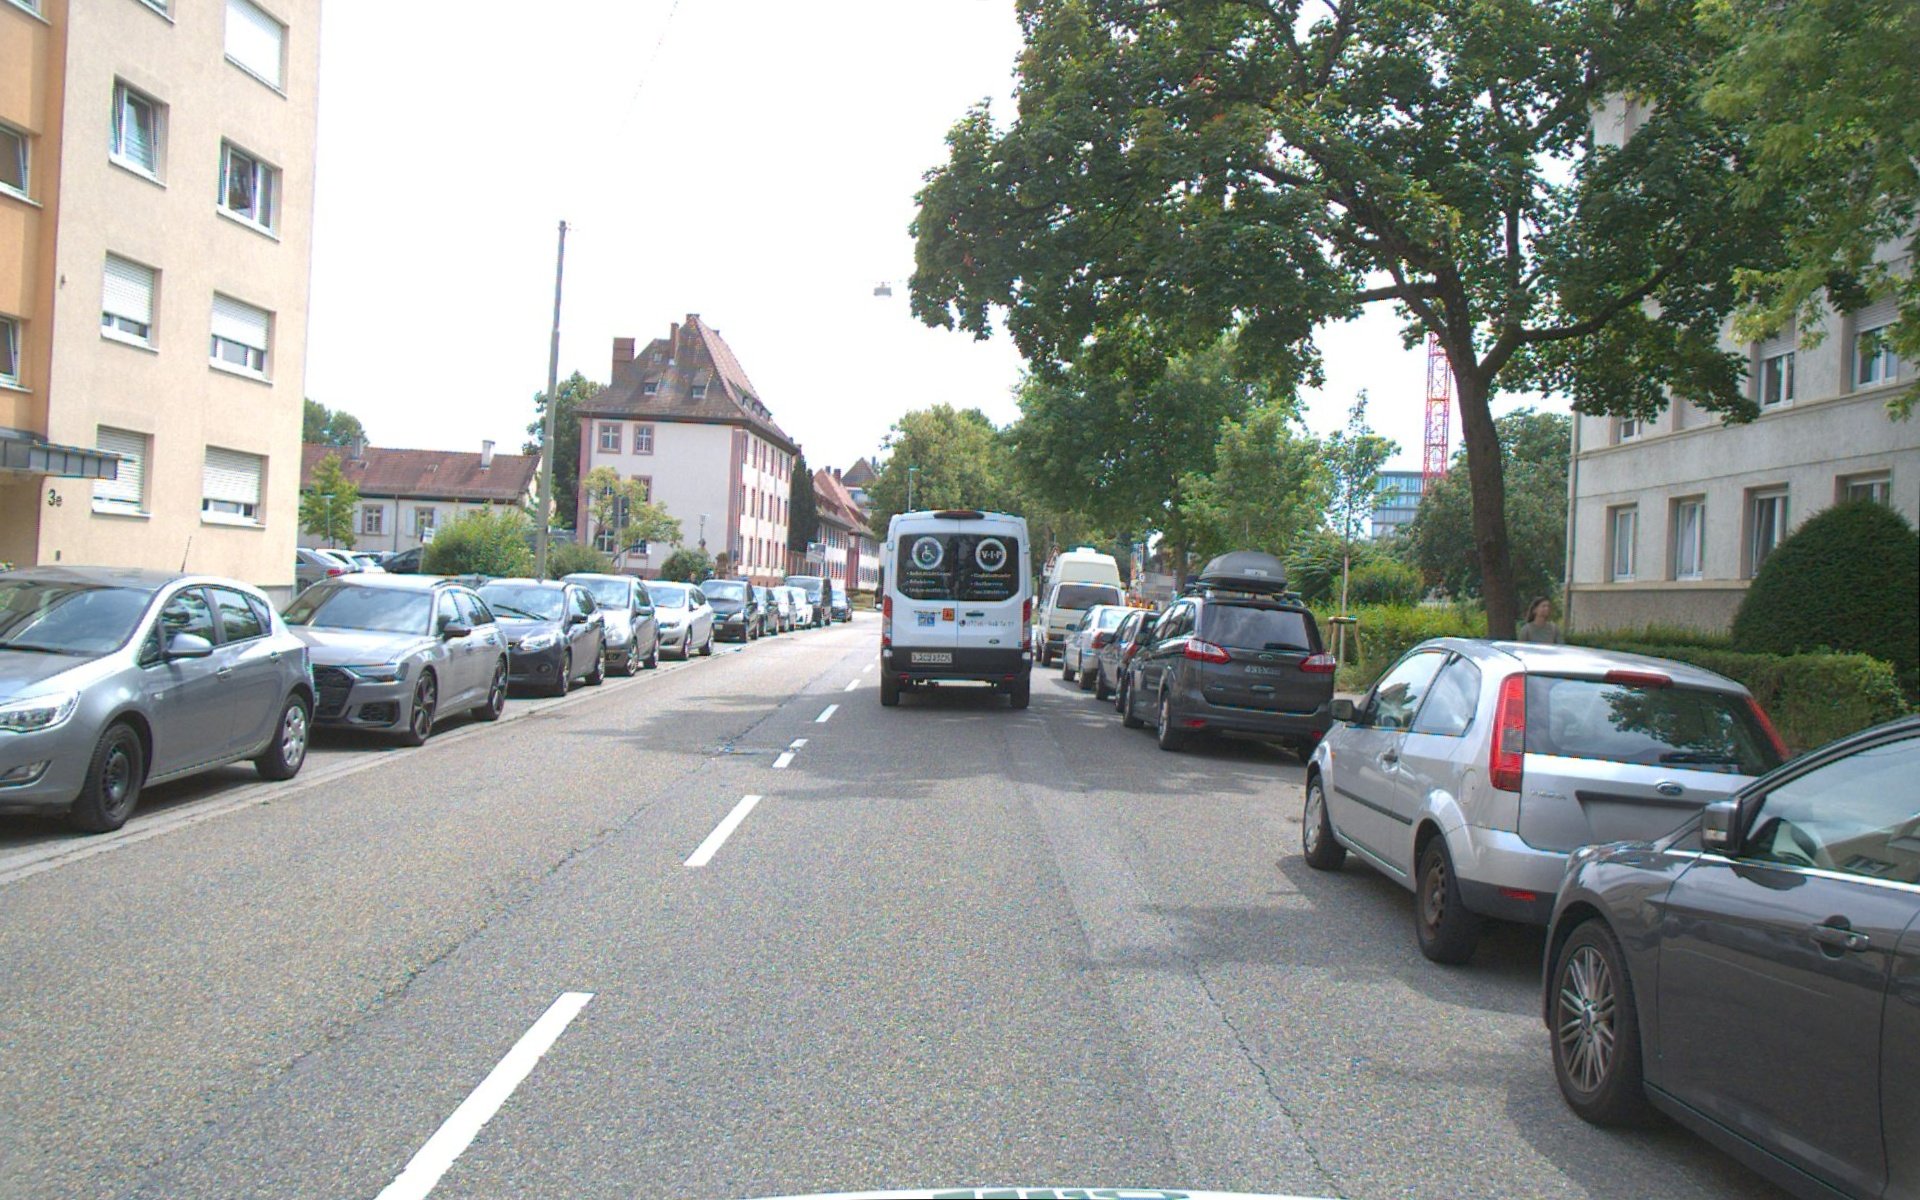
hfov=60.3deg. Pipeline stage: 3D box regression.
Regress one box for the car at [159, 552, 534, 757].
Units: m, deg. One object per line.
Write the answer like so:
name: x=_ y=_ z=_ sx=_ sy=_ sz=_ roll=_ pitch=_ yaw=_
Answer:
car: x=-5.804 y=0.443 z=16.456 sx=1.848 sy=1.607 sz=5.217 roll=4 pitch=0 yaw=-2

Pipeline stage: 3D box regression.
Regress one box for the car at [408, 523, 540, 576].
car: x=-17.466 y=-1.802 z=59.618 sx=4.086 sy=1.713 sz=2.000 roll=2 pitch=1 yaw=0

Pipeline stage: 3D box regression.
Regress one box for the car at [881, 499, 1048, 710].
car: x=-0.038 y=0.065 z=22.916 sx=2.029 sy=2.585 sz=4.632 roll=1 pitch=0 yaw=-3

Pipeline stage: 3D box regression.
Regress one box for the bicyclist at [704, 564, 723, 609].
bicyclist: x=-9.082 y=-0.499 z=60.907 sx=0.525 sy=1.613 sz=0.692 roll=2 pitch=0 yaw=2

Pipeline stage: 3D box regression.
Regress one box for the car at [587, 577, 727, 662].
car: x=-6.098 y=0.362 z=33.854 sx=1.847 sy=1.514 sz=4.634 roll=4 pitch=0 yaw=1

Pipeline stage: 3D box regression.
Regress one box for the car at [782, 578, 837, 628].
car: x=-6.062 y=0.107 z=66.848 sx=1.749 sy=1.858 sz=3.974 roll=3 pitch=0 yaw=0

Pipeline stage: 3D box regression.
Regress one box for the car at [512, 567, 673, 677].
car: x=-6.116 y=0.336 z=28.008 sx=1.848 sy=1.607 sz=4.151 roll=4 pitch=0 yaw=-2

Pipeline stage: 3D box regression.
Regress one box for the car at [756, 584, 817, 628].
car: x=-6.451 y=0.204 z=61.830 sx=1.749 sy=1.507 sz=3.861 roll=4 pitch=0 yaw=0

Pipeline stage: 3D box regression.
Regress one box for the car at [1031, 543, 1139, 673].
car: x=2.763 y=0.162 z=37.666 sx=1.859 sy=2.631 sz=4.828 roll=5 pitch=0 yaw=-1

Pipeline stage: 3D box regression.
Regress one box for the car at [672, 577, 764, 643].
car: x=-6.380 y=0.247 z=43.971 sx=1.749 sy=1.570 sz=3.861 roll=4 pitch=0 yaw=0

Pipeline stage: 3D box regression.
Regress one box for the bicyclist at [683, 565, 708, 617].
bicyclist: x=-8.636 y=-0.299 z=54.002 sx=0.525 sy=1.682 sz=1.048 roll=2 pitch=0 yaw=4

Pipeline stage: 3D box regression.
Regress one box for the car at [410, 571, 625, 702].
car: x=-5.964 y=0.443 z=22.898 sx=1.706 sy=1.522 sz=4.784 roll=4 pitch=0 yaw=-1

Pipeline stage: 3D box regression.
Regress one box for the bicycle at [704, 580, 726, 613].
bicycle: x=-9.071 y=-0.139 z=61.233 sx=0.530 sy=1.195 sz=1.349 roll=2 pitch=0 yaw=2

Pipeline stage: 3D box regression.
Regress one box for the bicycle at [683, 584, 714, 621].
bicycle: x=-8.613 y=0.071 z=54.519 sx=0.530 sy=1.195 sz=2.093 roll=2 pitch=0 yaw=4

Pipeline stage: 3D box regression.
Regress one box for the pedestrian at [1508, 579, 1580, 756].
pedestrian: x=6.233 y=0.710 z=17.666 sx=0.512 sy=1.860 sz=0.523 roll=1 pitch=0 yaw=-5

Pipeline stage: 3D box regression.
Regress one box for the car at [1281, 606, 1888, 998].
car: x=2.972 y=0.844 z=8.841 sx=1.625 sy=1.482 sz=4.035 roll=4 pitch=0 yaw=0

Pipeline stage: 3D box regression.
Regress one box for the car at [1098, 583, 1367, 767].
car: x=2.951 y=0.733 z=19.197 sx=1.889 sy=1.690 sz=5.322 roll=5 pitch=0 yaw=-3

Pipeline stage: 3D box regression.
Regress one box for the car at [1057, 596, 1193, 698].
car: x=2.822 y=0.767 z=29.179 sx=1.647 sy=1.494 sz=4.553 roll=5 pitch=0 yaw=-2

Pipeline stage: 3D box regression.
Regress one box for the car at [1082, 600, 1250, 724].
car: x=2.906 y=0.832 z=24.147 sx=1.679 sy=1.490 sz=3.999 roll=5 pitch=0 yaw=-3

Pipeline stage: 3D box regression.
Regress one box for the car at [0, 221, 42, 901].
car: x=-5.488 y=-0.202 z=3.932 sx=2.460 sy=3.076 sz=7.394 roll=3 pitch=0 yaw=-1

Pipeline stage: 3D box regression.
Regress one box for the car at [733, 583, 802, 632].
car: x=-6.395 y=0.239 z=55.262 sx=1.749 sy=1.488 sz=3.861 roll=4 pitch=0 yaw=0

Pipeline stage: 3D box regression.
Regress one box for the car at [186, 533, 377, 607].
car: x=-17.601 y=-0.793 z=43.025 sx=4.086 sy=1.713 sz=2.000 roll=2 pitch=1 yaw=0

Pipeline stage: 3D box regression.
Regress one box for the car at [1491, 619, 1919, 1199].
car: x=2.845 y=0.882 z=3.757 sx=1.585 sy=1.495 sz=4.389 roll=4 pitch=0 yaw=-3

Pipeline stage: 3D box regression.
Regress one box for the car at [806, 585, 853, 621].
car: x=-6.048 y=0.118 z=77.039 sx=1.749 sy=1.507 sz=3.861 roll=4 pitch=0 yaw=0

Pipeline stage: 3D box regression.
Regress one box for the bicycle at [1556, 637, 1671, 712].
bicycle: x=8.725 y=0.993 z=22.100 sx=1.360 sy=0.933 sz=0.513 roll=2 pitch=1 yaw=-14

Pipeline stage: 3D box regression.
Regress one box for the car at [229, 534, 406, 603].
car: x=-17.850 y=-0.867 z=46.087 sx=4.086 sy=1.713 sz=2.000 roll=2 pitch=1 yaw=0

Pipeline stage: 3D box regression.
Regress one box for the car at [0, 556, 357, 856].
car: x=-5.653 y=0.516 z=10.945 sx=1.654 sy=1.522 sz=4.592 roll=4 pitch=0 yaw=-1

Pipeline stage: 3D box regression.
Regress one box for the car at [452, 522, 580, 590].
car: x=-17.061 y=-1.677 z=63.689 sx=4.318 sy=2.389 sz=2.000 roll=2 pitch=1 yaw=0

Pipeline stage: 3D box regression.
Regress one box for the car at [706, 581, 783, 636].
car: x=-6.481 y=0.236 z=50.070 sx=1.749 sy=1.488 sz=3.861 roll=4 pitch=0 yaw=0
